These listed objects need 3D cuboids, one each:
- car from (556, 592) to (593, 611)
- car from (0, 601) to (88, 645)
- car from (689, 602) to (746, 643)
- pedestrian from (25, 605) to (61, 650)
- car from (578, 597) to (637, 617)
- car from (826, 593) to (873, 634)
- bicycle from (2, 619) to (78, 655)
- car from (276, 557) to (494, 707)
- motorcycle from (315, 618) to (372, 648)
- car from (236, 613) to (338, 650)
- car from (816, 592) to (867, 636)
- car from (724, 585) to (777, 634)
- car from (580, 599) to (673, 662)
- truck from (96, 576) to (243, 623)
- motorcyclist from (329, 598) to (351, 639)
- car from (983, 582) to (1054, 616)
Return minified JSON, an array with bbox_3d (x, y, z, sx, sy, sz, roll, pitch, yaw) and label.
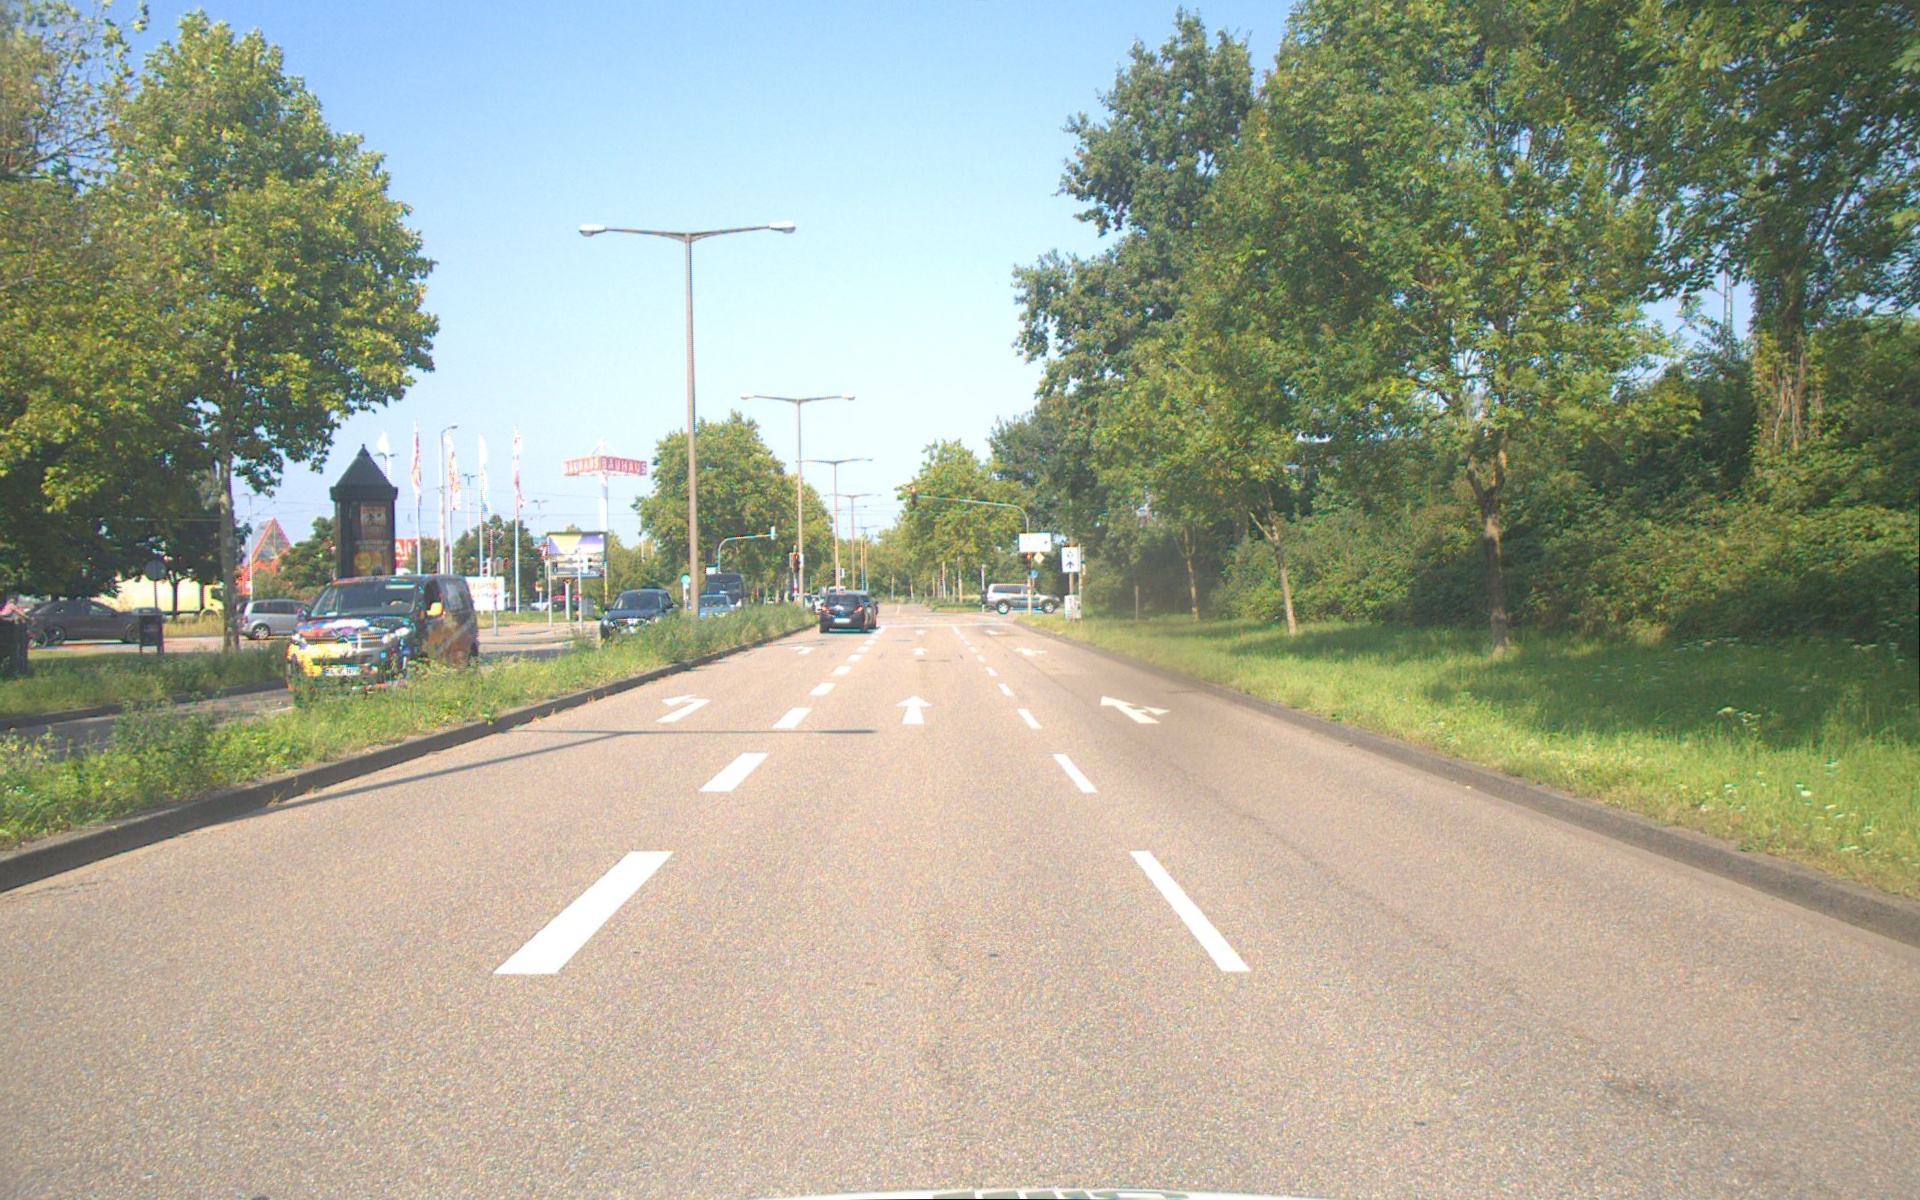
[{"bbox_3d":[-41.553,0.130,178.405,1.952,2.049,4.293,0,0,18],"label":"car"},{"bbox_3d":[-35.107,0.861,61.815,4.270,1.606,1.550,0,0,-40],"label":"car"},{"bbox_3d":[-9.722,0.873,66.571,1.737,1.601,3.999,0,0,-1],"label":"car"},{"bbox_3d":[-33.252,0.988,59.976,1.047,1.602,0.857,0,0,-37],"label":"pedestrian"},{"bbox_3d":[-22.148,0.438,104.028,3.303,1.156,1.494,-2,0,7],"label":"car"},{"bbox_3d":[-4.365,0.517,65.977,1.658,1.512,3.999,-2,0,-2],"label":"car"},{"bbox_3d":[-33.318,1.319,59.898,2.336,1.257,0.862,0,0,-38],"label":"bicycle"},{"bbox_3d":[-8.789,0.450,25.715,1.893,2.063,4.564,-2,0,-2],"label":"car"},{"bbox_3d":[-24.739,1.300,66.408,2.054,1.156,0.668,-1,-1,-37],"label":"motorcycle"},{"bbox_3d":[-27.644,1.269,67.980,3.664,1.468,1.447,0,0,-38],"label":"car"},{"bbox_3d":[-4.360,0.503,61.288,1.658,1.512,3.999,-2,0,-2],"label":"car"},{"bbox_3d":[-10.596,0.459,83.958,2.069,2.373,6.280,0,0,-2],"label":"car"},{"bbox_3d":[-9.559,0.841,47.742,1.954,1.736,4.502,0,0,-3],"label":"car"},{"bbox_3d":[-56.148,-0.043,117.643,8.921,3.009,3.467,-2,0,-38],"label":"truck"},{"bbox_3d":[-24.866,0.733,66.321,0.676,1.599,0.674,0,0,-37],"label":"motorcyclist"},{"bbox_3d":[3.498,-0.065,99.815,4.178,1.868,1.913,-2,0,0],"label":"car"}]
